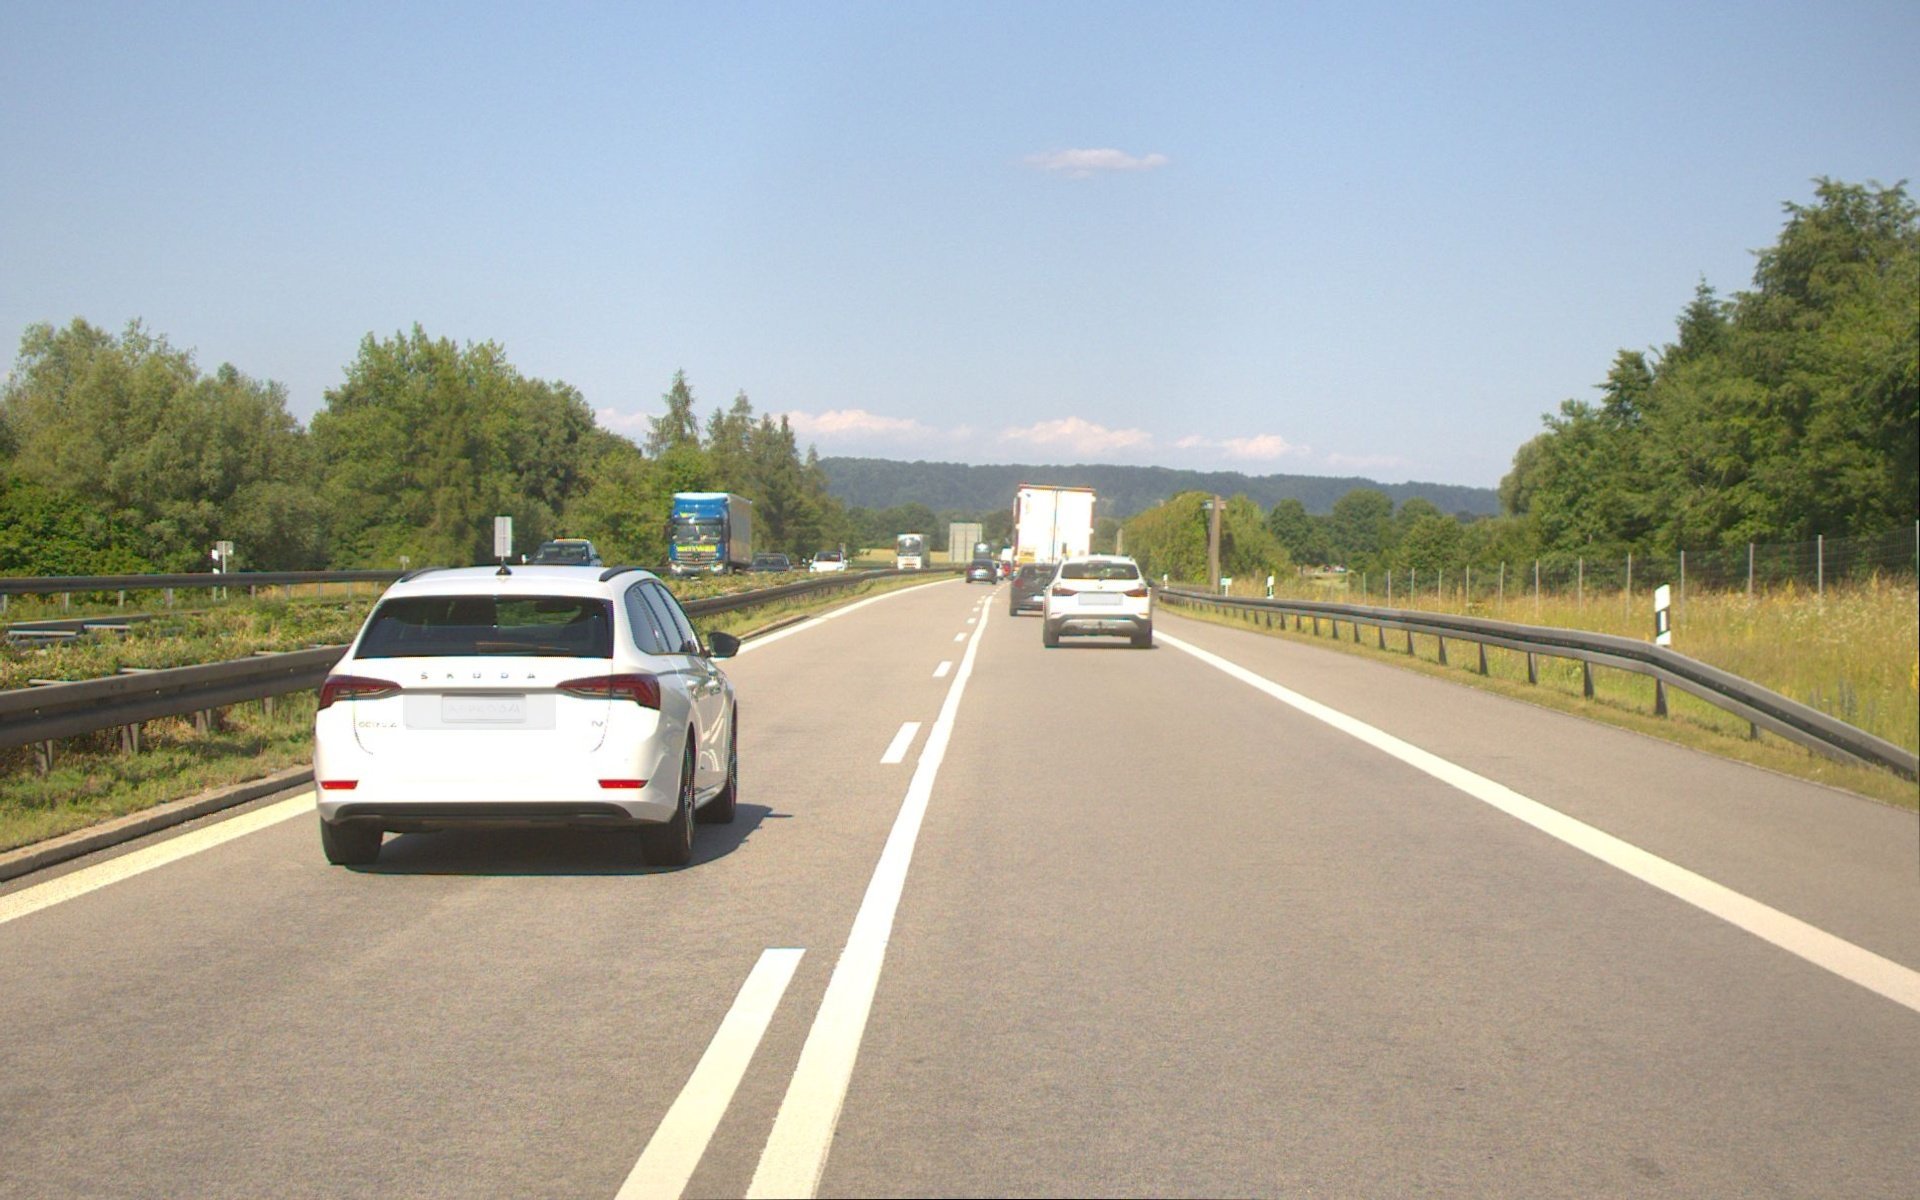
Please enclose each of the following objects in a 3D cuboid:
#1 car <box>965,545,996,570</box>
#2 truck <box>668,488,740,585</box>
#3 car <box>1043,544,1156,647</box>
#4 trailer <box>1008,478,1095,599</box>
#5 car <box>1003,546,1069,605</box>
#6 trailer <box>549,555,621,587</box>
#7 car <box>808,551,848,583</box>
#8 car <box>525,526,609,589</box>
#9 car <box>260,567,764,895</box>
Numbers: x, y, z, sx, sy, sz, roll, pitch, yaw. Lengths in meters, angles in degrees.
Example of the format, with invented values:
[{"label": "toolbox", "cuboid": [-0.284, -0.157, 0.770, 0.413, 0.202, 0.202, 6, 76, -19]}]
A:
[{"label": "car", "cuboid": [1.269, -2.594, 210.170, 1.771, 1.416, 4.495, 3, 1, 1]}, {"label": "truck", "cuboid": [-11.593, -2.887, 156.072, 2.740, 4.288, 6.335, 1, 1, 0]}, {"label": "car", "cuboid": [2.309, -0.110, 58.006, 1.685, 1.490, 4.987, 4, 2, 1]}, {"label": "trailer", "cuboid": [3.250, -2.132, 120.801, 2.818, 3.953, 14.160, 1, 1, 2]}, {"label": "car", "cuboid": [2.036, -0.666, 92.004, 1.665, 1.449, 4.544, 3, 1, 1]}, {"label": "trailer", "cuboid": [-11.520, -0.907, 105.840, 1.742, 0.933, 4.020, 1, 1, 1]}, {"label": "car", "cuboid": [-7.056, -1.777, 184.089, 1.993, 1.659, 4.634, 0, 1, 0]}, {"label": "car", "cuboid": [-11.556, -1.240, 101.376, 1.849, 1.797, 4.871, 0, 1, 1]}, {"label": "car", "cuboid": [-2.155, 0.560, 17.998, 1.840, 1.416, 5.254, 1, 1, 1]}]
